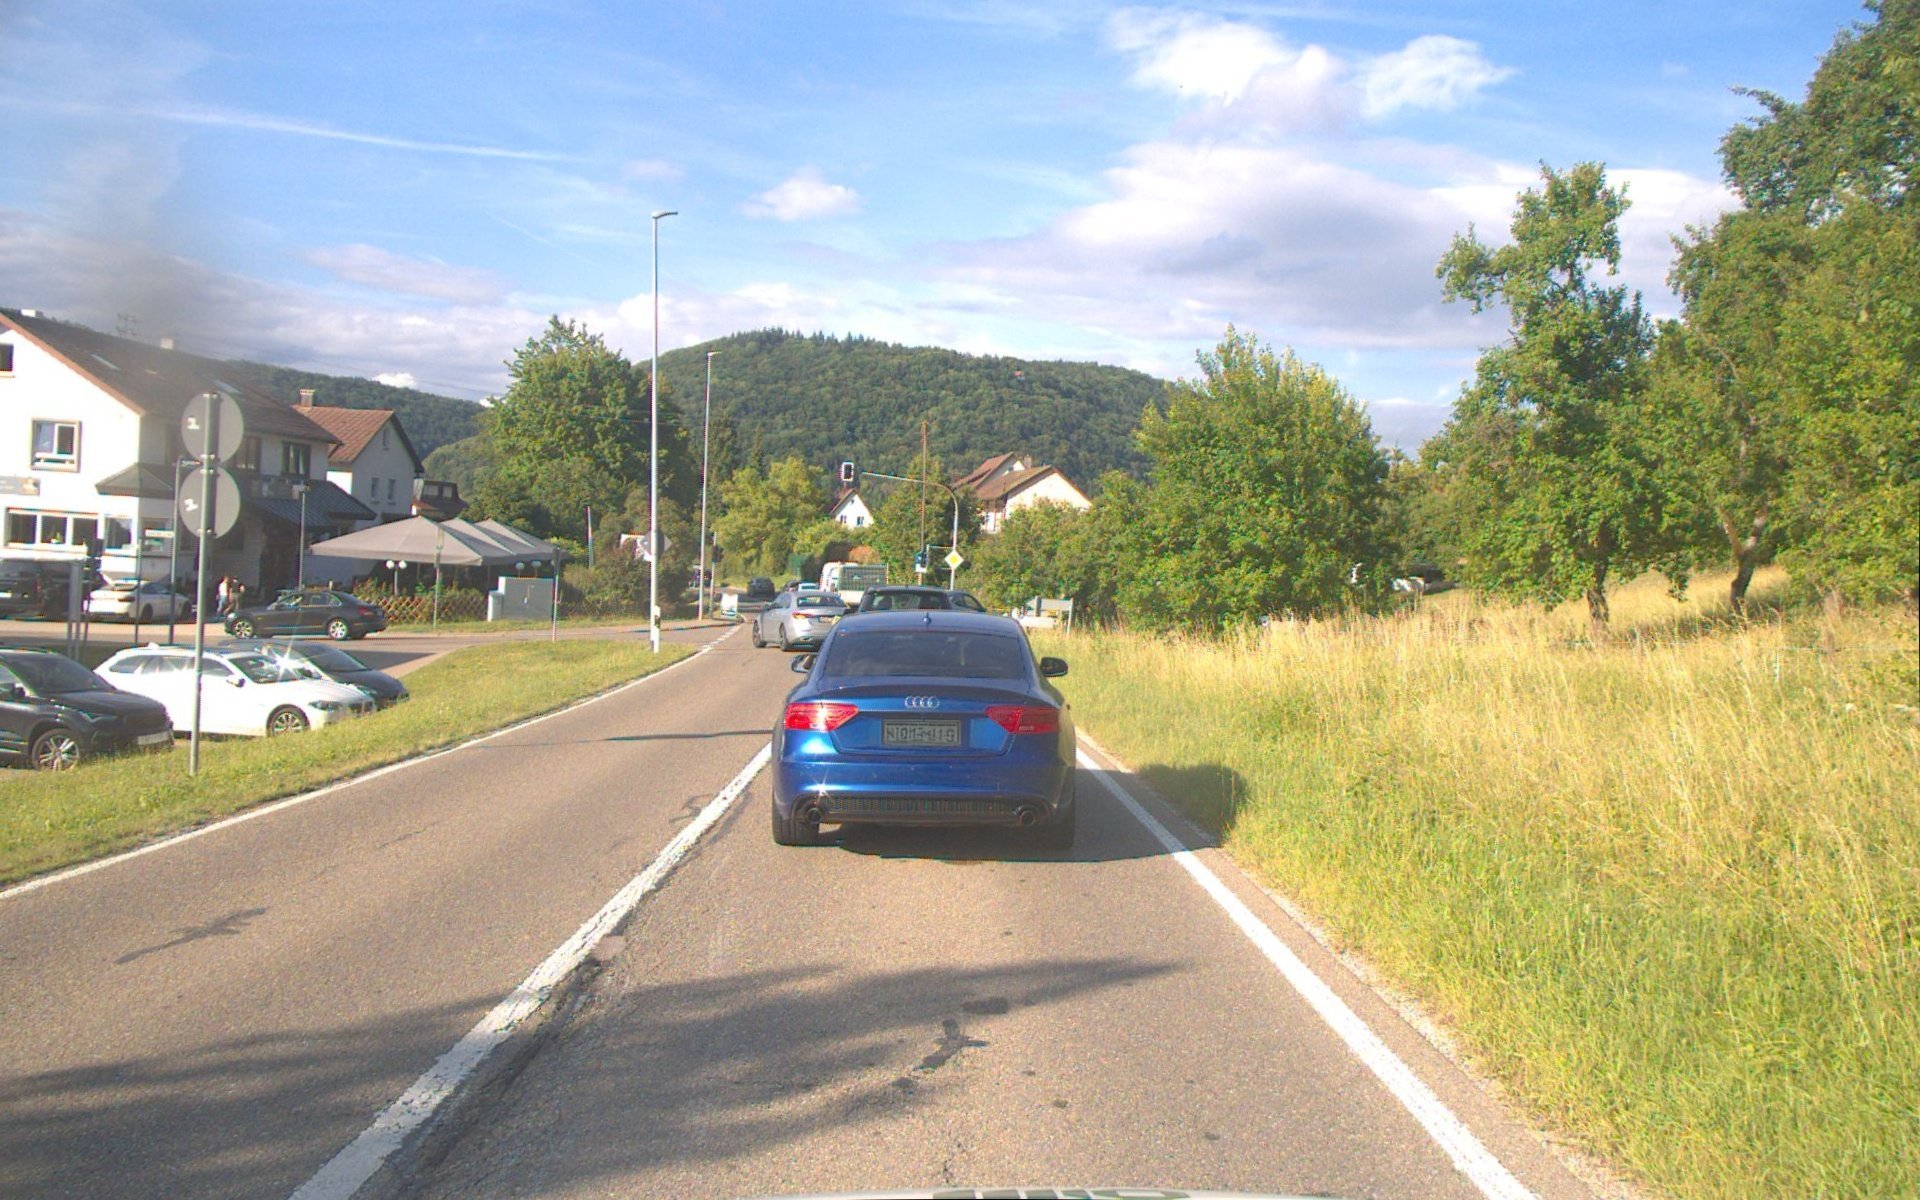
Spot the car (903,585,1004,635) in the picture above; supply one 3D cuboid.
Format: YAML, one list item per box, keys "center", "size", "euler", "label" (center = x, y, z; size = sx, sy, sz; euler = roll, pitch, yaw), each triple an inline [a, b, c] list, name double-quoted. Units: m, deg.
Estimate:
- center: [-0.156, 0.323, 52.412]
  size: [1.594, 1.503, 3.725]
  euler: [1, -1, 29]
  label: "car"

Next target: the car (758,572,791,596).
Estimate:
- center: [-12.113, -1.023, 107.886]
  size: [1.668, 1.516, 3.514]
  euler: [1, 0, -13]
  label: "car"

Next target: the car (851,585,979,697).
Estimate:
- center: [-0.654, 0.637, 27.059]
  size: [1.709, 1.668, 4.002]
  euler: [1, 0, 4]
  label: "car"

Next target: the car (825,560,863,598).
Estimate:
- center: [-5.483, -0.970, 77.730]
  size: [1.712, 1.668, 3.996]
  euler: [1, 0, -5]
  label: "car"

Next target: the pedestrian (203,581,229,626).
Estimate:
- center: [-25.766, 0.124, 57.255]
  size: [0.596, 1.529, 0.590]
  euler: [1, -1, -1]
  label: "pedestrian"

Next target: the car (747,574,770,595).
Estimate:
- center: [-15.367, -1.194, 126.229]
  size: [1.665, 1.516, 3.521]
  euler: [1, 0, -8]
  label: "car"

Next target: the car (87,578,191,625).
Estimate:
- center: [-27.444, 0.058, 55.416]
  size: [1.524, 1.475, 3.999]
  euler: [1, 0, -1]
  label: "car"

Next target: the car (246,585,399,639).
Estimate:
- center: [-18.808, 0.354, 48.832]
  size: [3.904, 1.467, 1.920]
  euler: [1, -1, 20]
  label: "car"

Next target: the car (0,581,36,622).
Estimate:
- center: [-33.064, 0.020, 55.604]
  size: [1.804, 1.378, 3.998]
  euler: [1, 0, -2]
  label: "car"

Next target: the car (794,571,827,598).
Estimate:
- center: [-8.951, -0.917, 99.118]
  size: [1.667, 1.516, 3.518]
  euler: [1, 0, -10]
  label: "car"

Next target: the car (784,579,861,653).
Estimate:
- center: [-3.376, 0.387, 40.689]
  size: [1.769, 1.668, 4.459]
  euler: [1, 0, -5]
  label: "car"

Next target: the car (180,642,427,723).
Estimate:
- center: [-12.263, 1.516, 31.011]
  size: [3.902, 1.333, 1.762]
  euler: [1, -1, 7]
  label: "car"

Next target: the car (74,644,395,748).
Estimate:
- center: [-12.238, 1.583, 28.015]
  size: [4.711, 1.520, 1.882]
  euler: [1, -1, 11]
  label: "car"

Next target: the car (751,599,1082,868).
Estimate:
- center: [-0.111, 0.721, 10.789]
  size: [1.757, 1.412, 4.002]
  euler: [0, -1, 4]
  label: "car"

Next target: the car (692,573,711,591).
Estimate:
- center: [-24.381, -1.688, 155.932]
  size: [1.596, 1.604, 3.670]
  euler: [1, 0, -10]
  label: "car"

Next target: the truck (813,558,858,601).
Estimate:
- center: [-6.302, -0.991, 82.999]
  size: [1.666, 1.988, 5.908]
  euler: [1, 0, -10]
  label: "truck"

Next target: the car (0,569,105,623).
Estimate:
- center: [-30.305, -0.116, 54.843]
  size: [1.849, 1.691, 3.999]
  euler: [1, 0, -1]
  label: "car"

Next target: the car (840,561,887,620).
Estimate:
- center: [-3.868, -0.338, 65.749]
  size: [1.712, 2.234, 3.996]
  euler: [1, -1, -5]
  label: "car"

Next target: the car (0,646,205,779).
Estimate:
- center: [-13.239, 1.552, 23.684]
  size: [3.939, 1.666, 2.002]
  euler: [1, -1, 11]
  label: "car"

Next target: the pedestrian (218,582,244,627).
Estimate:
- center: [-25.054, 0.152, 56.838]
  size: [0.596, 1.529, 0.590]
  euler: [1, -1, -1]
  label: "pedestrian"
